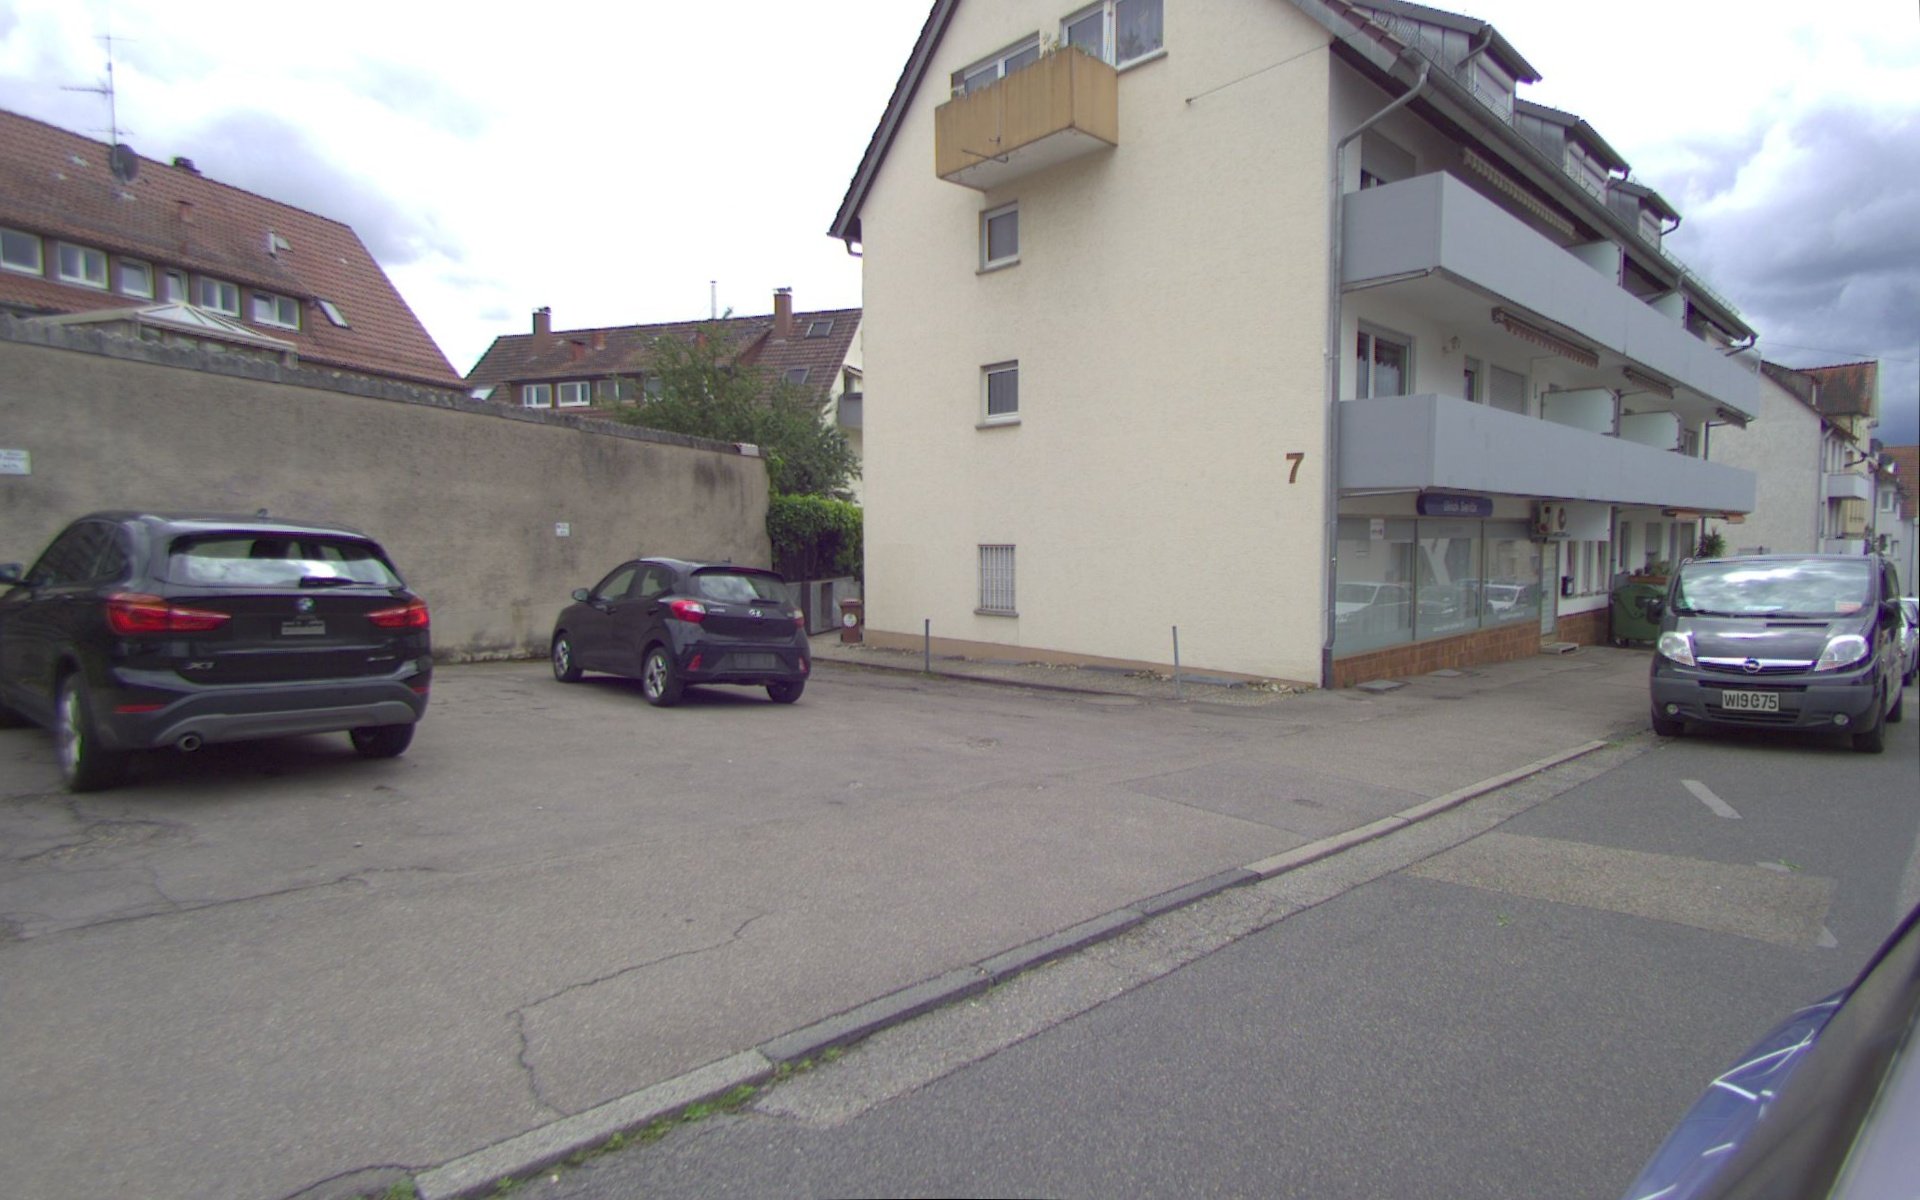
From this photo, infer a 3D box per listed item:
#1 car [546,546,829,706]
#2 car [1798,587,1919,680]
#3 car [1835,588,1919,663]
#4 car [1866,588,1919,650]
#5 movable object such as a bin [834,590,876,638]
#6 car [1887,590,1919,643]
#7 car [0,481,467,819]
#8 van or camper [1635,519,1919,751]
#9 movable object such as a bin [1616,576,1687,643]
[{"bbox_3d":[-3.134,0.230,11.307,1.697,1.506,3.316,0,0,-44],"label":"car"},{"bbox_3d":[16.505,0.515,18.315,4.263,1.473,1.610,-1,1,-44],"label":"car"},{"bbox_3d":[20.185,0.484,21.877,3.796,1.473,1.610,-1,1,-44],"label":"car"},{"bbox_3d":[24.122,0.445,25.577,3.259,1.473,1.610,-1,1,-44],"label":"car"},{"bbox_3d":[-2.215,0.288,21.408,0.648,0.951,0.575,1,6,28],"label":"movable object such as a bin"},{"bbox_3d":[27.171,0.437,28.356,3.539,1.423,1.581,-1,1,-44],"label":"car"},{"bbox_3d":[-5.344,0.122,7.035,4.106,1.674,1.878,4,3,39],"label":"car"},{"bbox_3d":[9.368,0.292,11.381,4.982,2.039,1.994,0,0,-45],"label":"van or camper"},{"bbox_3d":[15.414,0.191,22.560,1.239,1.455,1.081,0,1,-44],"label":"movable object such as a bin"}]
